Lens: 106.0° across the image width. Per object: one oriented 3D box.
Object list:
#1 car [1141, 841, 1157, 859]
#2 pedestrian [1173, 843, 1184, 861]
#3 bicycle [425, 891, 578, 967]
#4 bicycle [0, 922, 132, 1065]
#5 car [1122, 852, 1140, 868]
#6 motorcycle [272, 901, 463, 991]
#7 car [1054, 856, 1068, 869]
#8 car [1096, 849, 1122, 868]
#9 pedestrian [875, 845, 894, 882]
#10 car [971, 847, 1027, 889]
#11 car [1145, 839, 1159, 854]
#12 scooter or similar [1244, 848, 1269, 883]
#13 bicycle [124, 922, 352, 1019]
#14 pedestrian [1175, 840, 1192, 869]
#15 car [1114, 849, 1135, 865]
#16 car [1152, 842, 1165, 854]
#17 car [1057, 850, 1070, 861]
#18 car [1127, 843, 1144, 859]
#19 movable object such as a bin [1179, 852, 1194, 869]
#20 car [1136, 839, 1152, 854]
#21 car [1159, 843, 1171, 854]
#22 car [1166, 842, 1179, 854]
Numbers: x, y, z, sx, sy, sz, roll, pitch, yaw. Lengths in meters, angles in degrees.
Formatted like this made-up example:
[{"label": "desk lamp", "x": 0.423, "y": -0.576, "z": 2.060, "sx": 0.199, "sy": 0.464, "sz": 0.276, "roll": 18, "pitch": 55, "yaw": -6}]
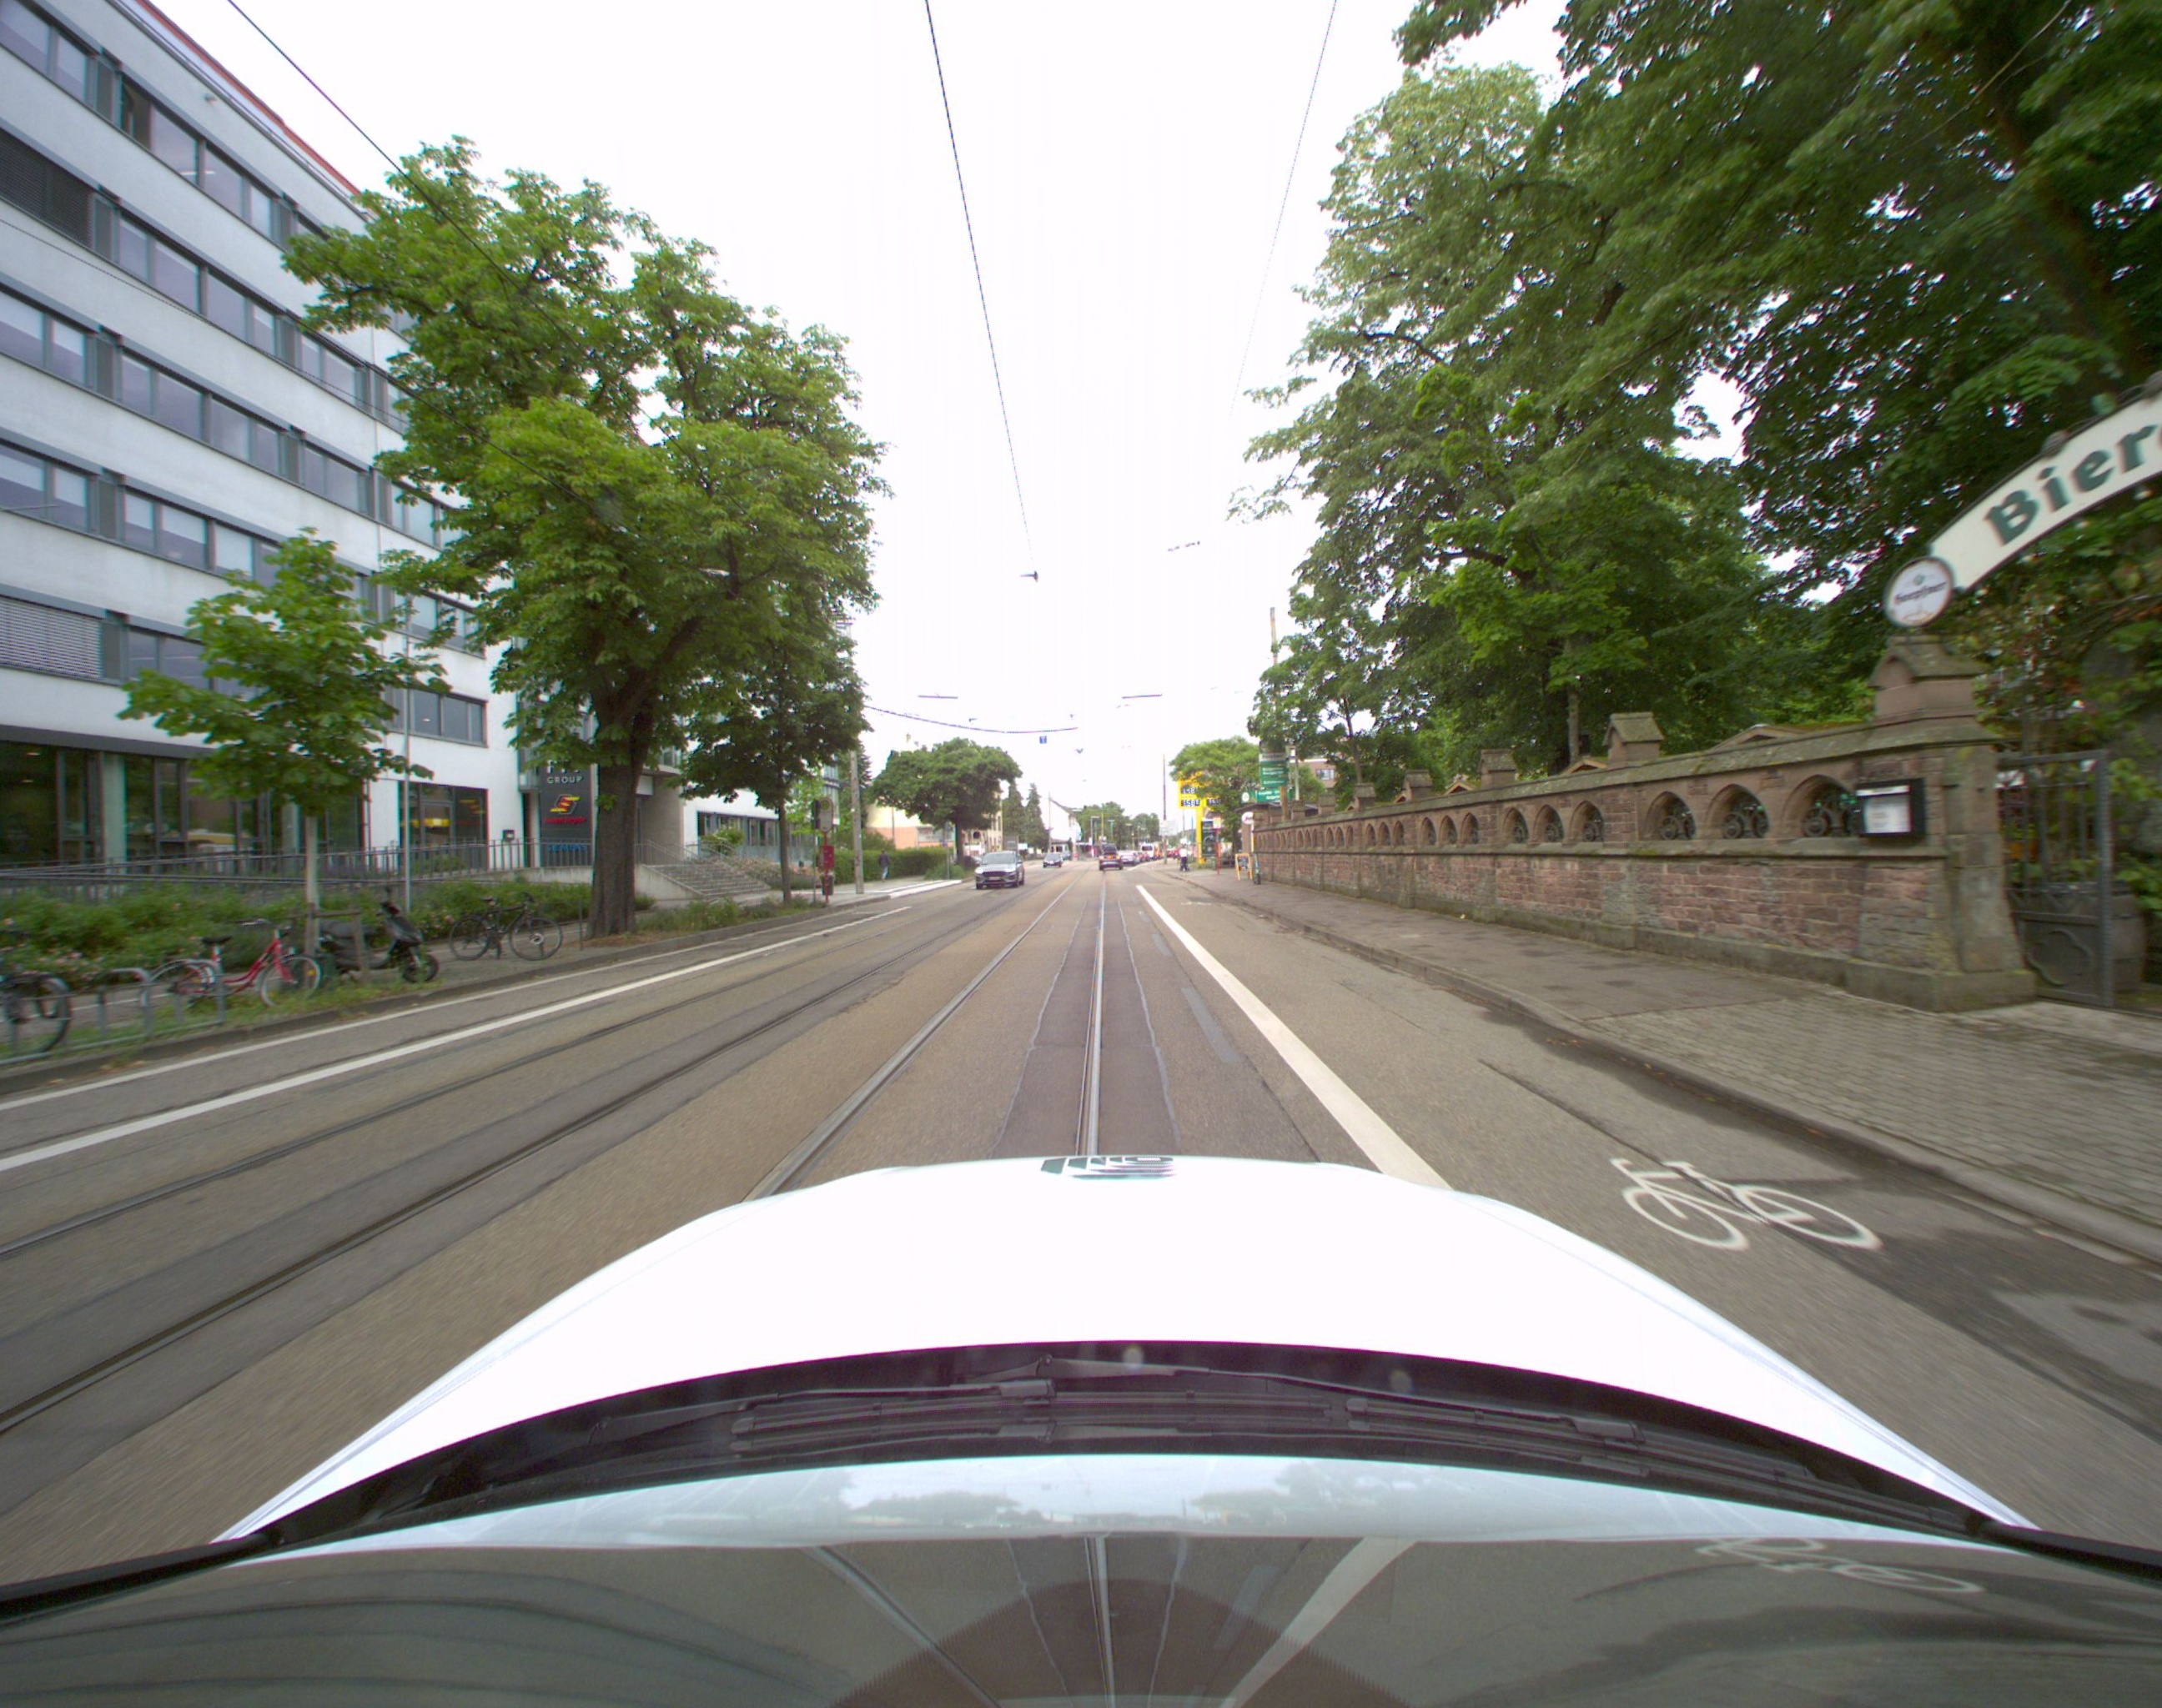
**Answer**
[{"label": "car", "x": 9.538, "y": -0.575, "z": 114.811, "sx": 2.206, "sy": 2.423, "sz": 4.957, "roll": -1, "pitch": 0, "yaw": 4}, {"label": "pedestrian", "x": 9.587, "y": -0.182, "z": 79.883, "sx": 0.967, "sy": 1.738, "sz": 0.862, "roll": -4, "pitch": 0, "yaw": 5}, {"label": "bicycle", "x": -9.309, "y": 1.187, "z": 13.140, "sx": 1.826, "sy": 1.053, "sz": 0.740, "roll": -2, "pitch": 1, "yaw": -7}, {"label": "bicycle", "x": -9.393, "y": 1.205, "z": 6.897, "sx": 1.803, "sy": 1.100, "sz": 0.631, "roll": -3, "pitch": 0, "yaw": -5}, {"label": "car", "x": 5.629, "y": 0.613, "z": 92.408, "sx": 1.960, "sy": 1.756, "sz": 3.841, "roll": -1, "pitch": 0, "yaw": 3}, {"label": "motorcycle", "x": -9.421, "y": 1.193, "z": 10.811, "sx": 1.785, "sy": 1.050, "sz": 0.732, "roll": -2, "pitch": 0, "yaw": -6}, {"label": "car", "x": -2.577, "y": 1.083, "z": 106.303, "sx": 1.698, "sy": 1.530, "sz": 3.742, "roll": -2, "pitch": 0, "yaw": 1}, {"label": "car", "x": 2.259, "y": 0.336, "z": 64.828, "sx": 1.982, "sy": 1.497, "sz": 4.328, "roll": -1, "pitch": 0, "yaw": 2}, {"label": "pedestrian", "x": -11.010, "y": 0.535, "z": 45.636, "sx": 0.706, "sy": 2.013, "sz": 0.993, "roll": -1, "pitch": 0, "yaw": 8}, {"label": "car", "x": -3.640, "y": 0.579, "z": 37.037, "sx": 1.835, "sy": 1.654, "sz": 4.391, "roll": -4, "pitch": 1, "yaw": 2}, {"label": "car", "x": 10.860, "y": -1.113, "z": 124.053, "sx": 2.129, "sy": 2.145, "sz": 4.750, "roll": -1, "pitch": 0, "yaw": 5}, {"label": "scooter or similar", "x": 6.570, "y": 0.409, "z": 30.602, "sx": 0.574, "sy": 1.239, "sz": 1.411, "roll": -6, "pitch": 0, "yaw": 2}, {"label": "bicycle", "x": -9.564, "y": 1.305, "z": 9.294, "sx": 1.803, "sy": 0.899, "sz": 0.631, "roll": -3, "pitch": 0, "yaw": -5}, {"label": "pedestrian", "x": 6.629, "y": 0.050, "z": 52.714, "sx": 0.762, "sy": 1.796, "sz": 1.167, "roll": -4, "pitch": 0, "yaw": 16}, {"label": "car", "x": 4.238, "y": 0.262, "z": 79.259, "sx": 1.974, "sy": 1.550, "sz": 4.185, "roll": -1, "pitch": 1, "yaw": 2}, {"label": "car", "x": 13.328, "y": -1.077, "z": 140.585, "sx": 1.986, "sy": 2.013, "sz": 4.002, "roll": -1, "pitch": 0, "yaw": 2}, {"label": "car", "x": -2.811, "y": 0.218, "z": 133.742, "sx": 1.820, "sy": 1.737, "sz": 4.338, "roll": -2, "pitch": 0, "yaw": 2}, {"label": "car", "x": 6.733, "y": -0.365, "z": 100.812, "sx": 1.984, "sy": 2.013, "sz": 4.005, "roll": -1, "pitch": 0, "yaw": 4}, {"label": "movable object such as a bin", "x": 6.946, "y": 0.399, "z": 53.715, "sx": 0.762, "sy": 1.039, "sz": 1.028, "roll": -4, "pitch": 0, "yaw": 16}, {"label": "car", "x": 8.331, "y": -0.985, "z": 107.170, "sx": 1.984, "sy": 2.013, "sz": 4.006, "roll": -1, "pitch": 0, "yaw": 5}, {"label": "car", "x": 15.740, "y": -1.018, "z": 152.151, "sx": 1.986, "sy": 2.013, "sz": 4.002, "roll": -1, "pitch": 0, "yaw": 2}, {"label": "car", "x": 13.756, "y": -0.897, "z": 122.634, "sx": 1.865, "sy": 1.823, "sz": 4.102, "roll": -1, "pitch": 0, "yaw": 5}]
